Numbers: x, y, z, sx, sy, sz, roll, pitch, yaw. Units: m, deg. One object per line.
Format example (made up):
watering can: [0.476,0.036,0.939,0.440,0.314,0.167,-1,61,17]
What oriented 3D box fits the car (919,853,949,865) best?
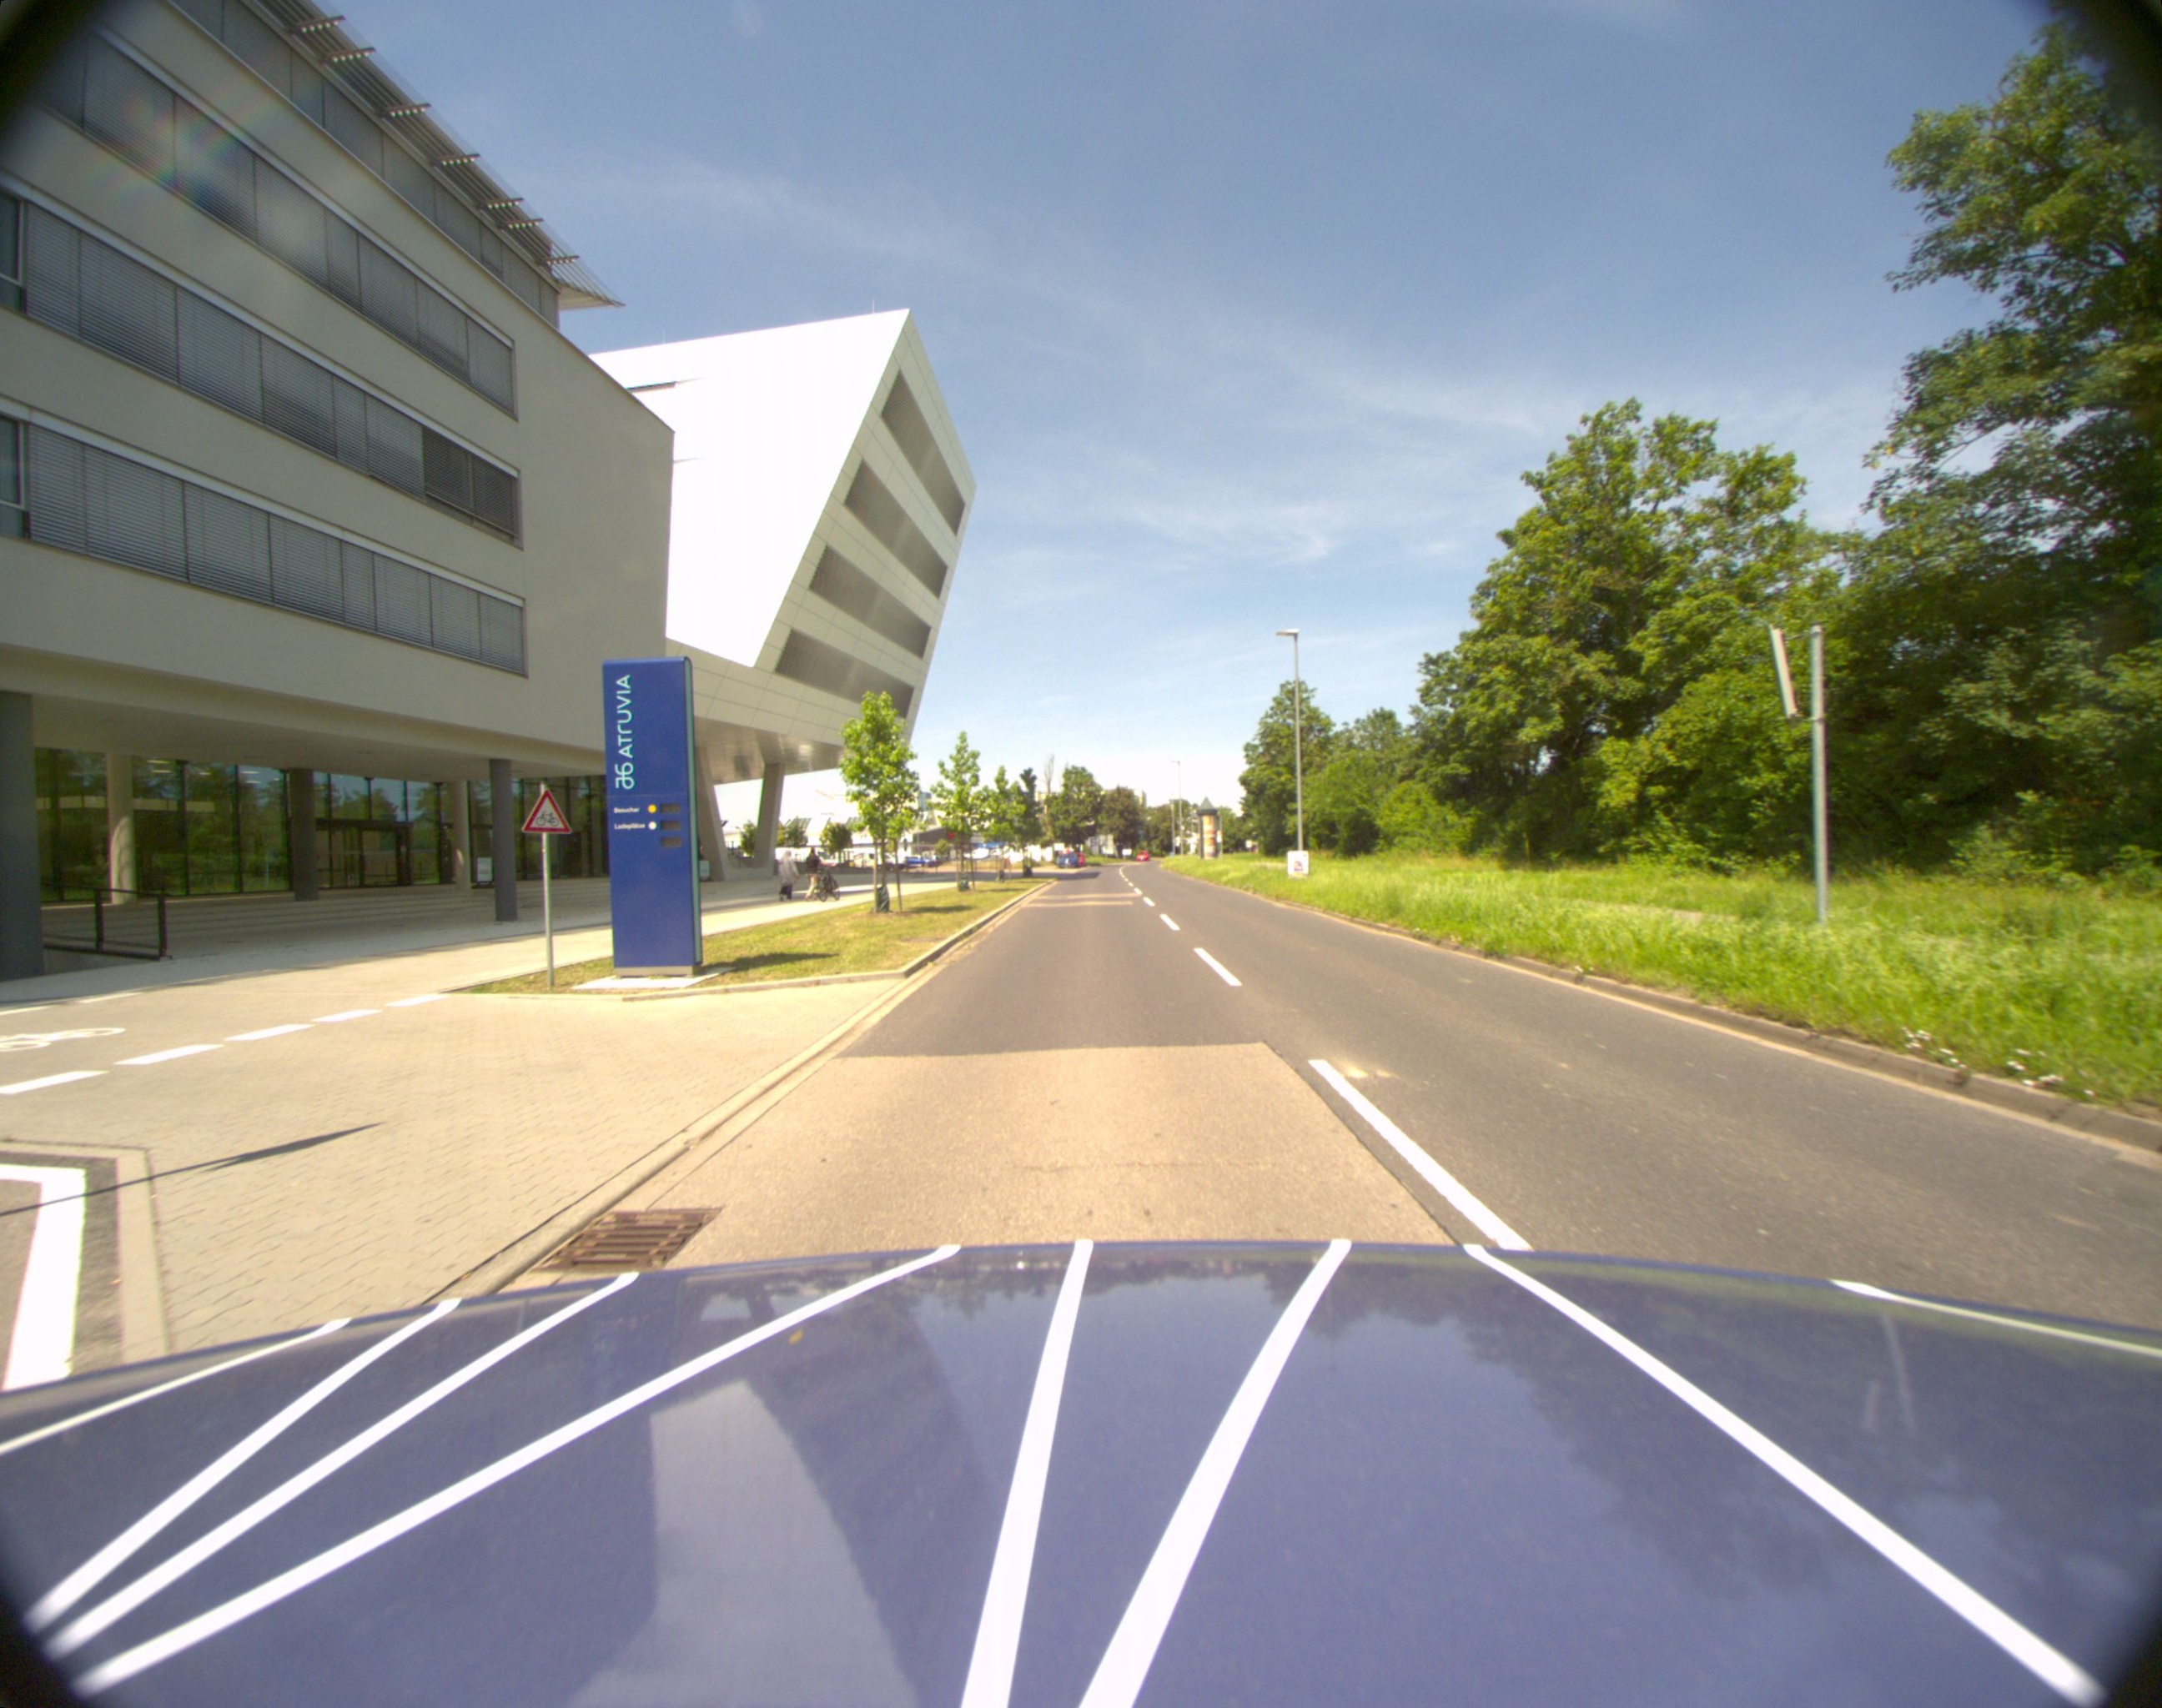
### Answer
car: [-18.113,0.627,93.586,3.226,1.342,1.408,-3,1,8]

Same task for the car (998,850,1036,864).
car: [-7.282,0.293,86.634,3.995,1.385,1.653,-3,1,5]

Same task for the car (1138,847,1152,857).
car: [9.616,-0.259,114.089,1.711,1.368,3.677,-3,1,9]

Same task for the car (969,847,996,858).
car: [-15.978,-0.287,123.277,3.916,1.533,1.704,-3,1,8]

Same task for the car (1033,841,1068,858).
car: [-4.013,-0.576,99.526,4.203,1.964,1.704,-3,1,8]

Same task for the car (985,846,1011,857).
car: [-14.722,-0.456,134.746,4.320,1.648,1.704,-3,1,8]

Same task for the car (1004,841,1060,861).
car: [-6.035,-0.384,93.837,6.491,2.137,2.166,-3,1,8]

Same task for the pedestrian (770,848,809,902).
pedestrian: [-9.308,0.664,24.316,0.844,1.650,0.775,-3,1,0]

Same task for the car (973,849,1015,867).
car: [-8.794,0.410,76.961,3.821,1.664,1.741,-3,1,4]

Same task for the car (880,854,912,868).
car: [-19.339,0.725,79.390,2.895,1.297,1.201,-3,1,8]

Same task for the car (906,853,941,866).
car: [-18.808,0.699,90.845,3.815,1.362,1.459,-3,1,8]

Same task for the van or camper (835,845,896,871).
van or camper: [-21.870,0.378,77.144,5.699,2.376,1.704,-3,1,8]

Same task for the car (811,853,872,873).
car: [-22.906,0.886,72.708,5.224,1.631,1.704,-3,1,8]

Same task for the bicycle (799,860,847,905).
bicycle: [-8.075,0.861,23.926,0.645,1.247,2.304,-3,1,0]

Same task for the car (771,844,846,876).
car: [-23.025,0.505,64.365,5.580,2.446,2.001,-3,1,8]

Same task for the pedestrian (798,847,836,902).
pedestrian: [-8.449,0.642,24.304,0.844,1.691,0.775,-3,1,0]

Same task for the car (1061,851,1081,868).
car: [-0.969,0.524,74.836,1.802,1.490,3.999,-3,1,0]
